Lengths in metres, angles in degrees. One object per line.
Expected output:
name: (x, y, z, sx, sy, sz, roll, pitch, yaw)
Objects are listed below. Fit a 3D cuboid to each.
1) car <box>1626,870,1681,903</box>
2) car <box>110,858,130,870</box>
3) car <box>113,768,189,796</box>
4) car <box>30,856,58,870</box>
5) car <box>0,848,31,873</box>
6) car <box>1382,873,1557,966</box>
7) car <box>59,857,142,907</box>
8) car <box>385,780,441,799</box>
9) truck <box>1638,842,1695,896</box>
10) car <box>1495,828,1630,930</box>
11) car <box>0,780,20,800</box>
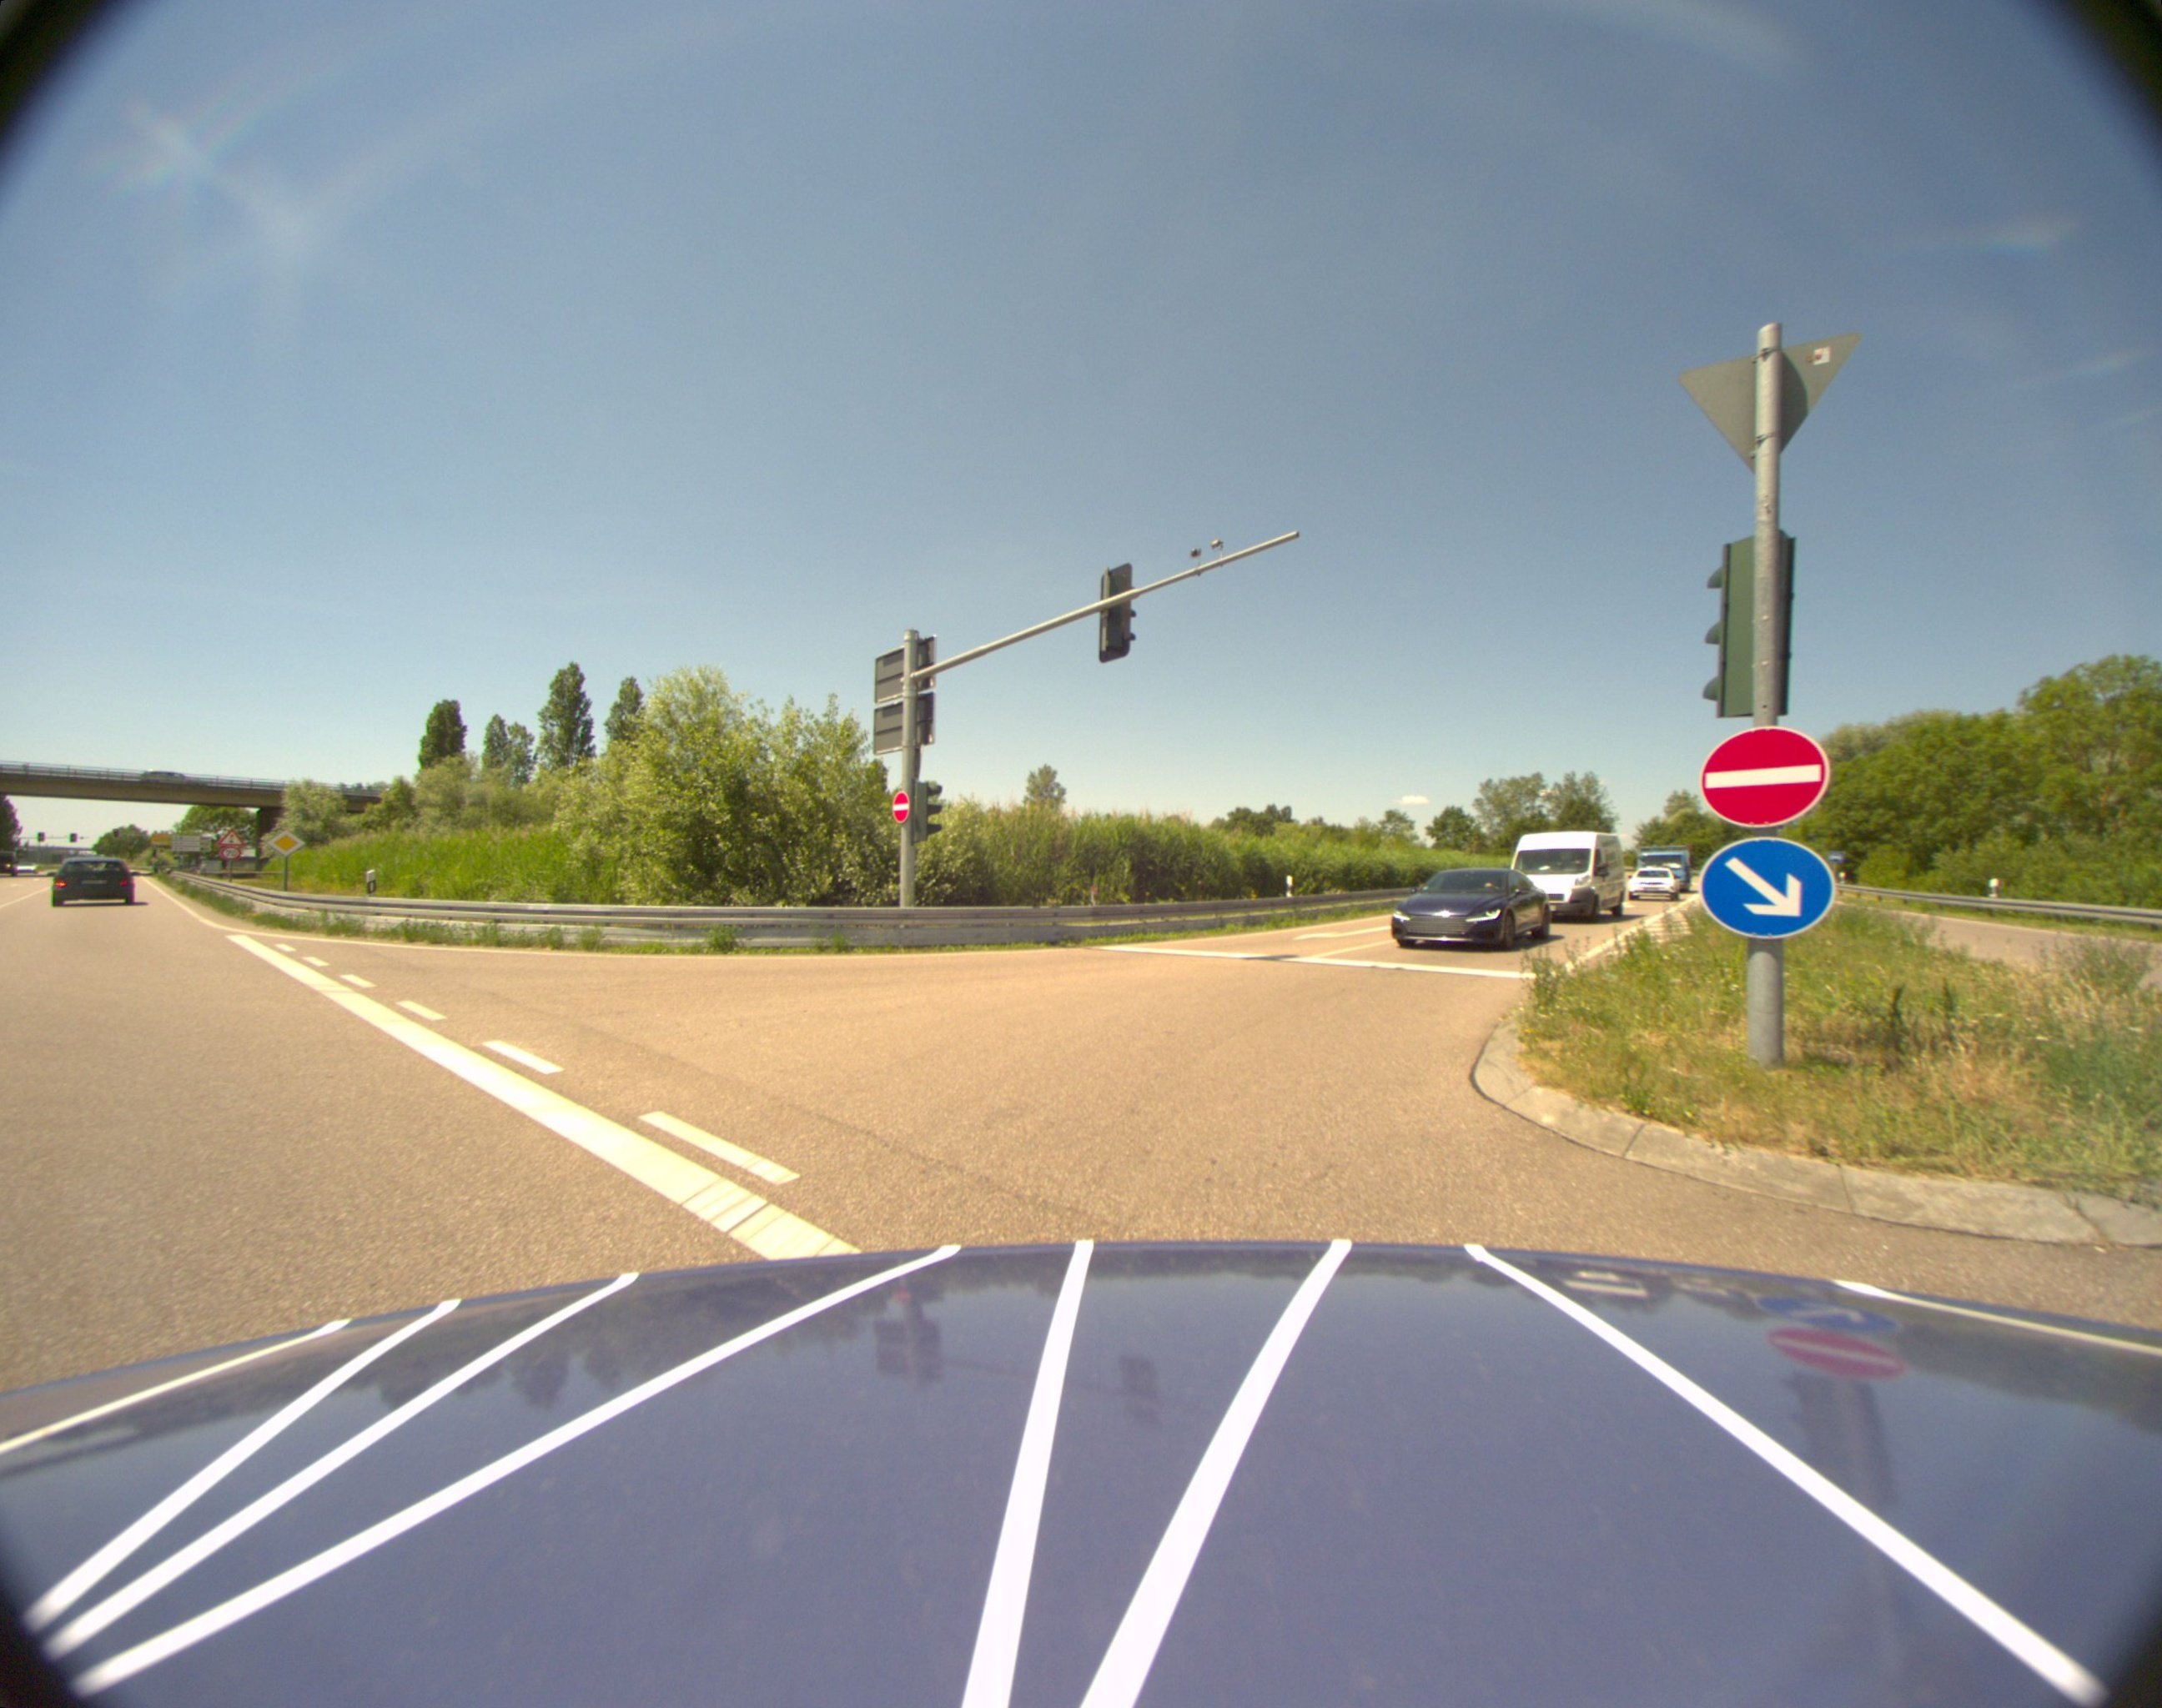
car: (27.069, 1.483, 35.889, 1.716, 1.427, 3.968, 0, -1, 42)
car: (-136.199, 1.422, 107.690, 3.676, 1.553, 1.593, 0, 1, 40)
car: (-93.018, -7.129, 76.081, 1.907, 2.427, 4.657, 0, 1, 44)
car: (-131.483, 1.159, 96.369, 3.988, 1.680, 1.848, 0, 0, 39)
car: (-107.159, 0.629, 76.136, 4.634, 2.427, 1.917, 0, 1, 40)
car: (7.376, 1.075, 14.176, 1.843, 1.414, 4.573, -1, -1, 41)
car: (-33.231, 0.900, 25.773, 3.551, 1.587, 1.647, 0, 0, 38)
car: (-77.732, -7.439, 88.417, 1.907, 1.884, 4.657, 0, 1, 42)
truck: (38.254, 0.951, 49.536, 2.687, 3.176, 9.198, 1, 0, 39)
car: (13.664, 0.672, 21.373, 2.223, 2.480, 5.996, -1, -2, 42)
car: (-103.187, -6.078, 70.884, 1.907, 1.780, 4.657, 0, 1, 44)
